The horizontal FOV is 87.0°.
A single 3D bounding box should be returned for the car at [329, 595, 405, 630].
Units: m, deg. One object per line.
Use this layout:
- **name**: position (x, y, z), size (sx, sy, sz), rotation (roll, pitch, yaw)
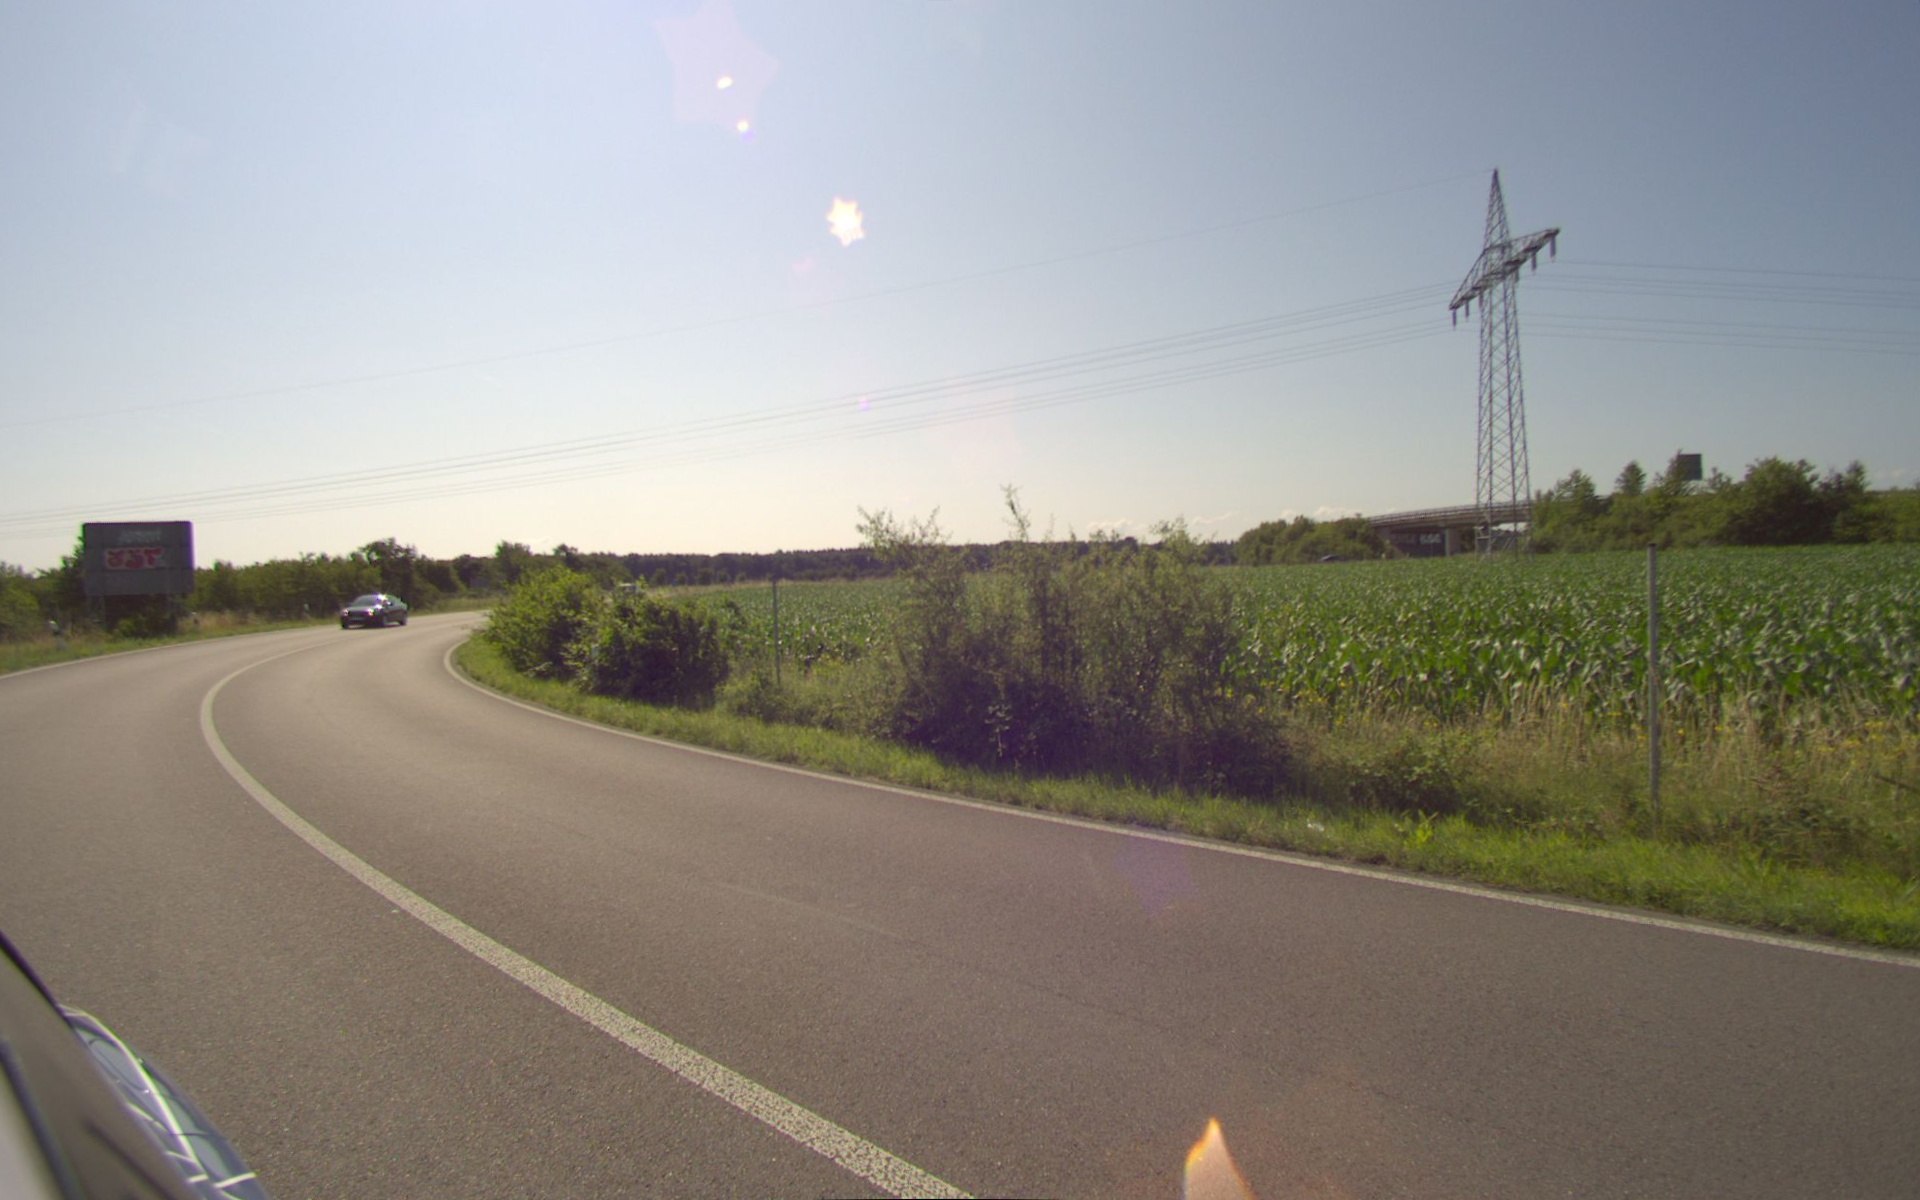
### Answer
- **car**: position (-26.575, 0.530, 45.511), size (1.856, 1.467, 4.086), rotation (0, 0, -13)
